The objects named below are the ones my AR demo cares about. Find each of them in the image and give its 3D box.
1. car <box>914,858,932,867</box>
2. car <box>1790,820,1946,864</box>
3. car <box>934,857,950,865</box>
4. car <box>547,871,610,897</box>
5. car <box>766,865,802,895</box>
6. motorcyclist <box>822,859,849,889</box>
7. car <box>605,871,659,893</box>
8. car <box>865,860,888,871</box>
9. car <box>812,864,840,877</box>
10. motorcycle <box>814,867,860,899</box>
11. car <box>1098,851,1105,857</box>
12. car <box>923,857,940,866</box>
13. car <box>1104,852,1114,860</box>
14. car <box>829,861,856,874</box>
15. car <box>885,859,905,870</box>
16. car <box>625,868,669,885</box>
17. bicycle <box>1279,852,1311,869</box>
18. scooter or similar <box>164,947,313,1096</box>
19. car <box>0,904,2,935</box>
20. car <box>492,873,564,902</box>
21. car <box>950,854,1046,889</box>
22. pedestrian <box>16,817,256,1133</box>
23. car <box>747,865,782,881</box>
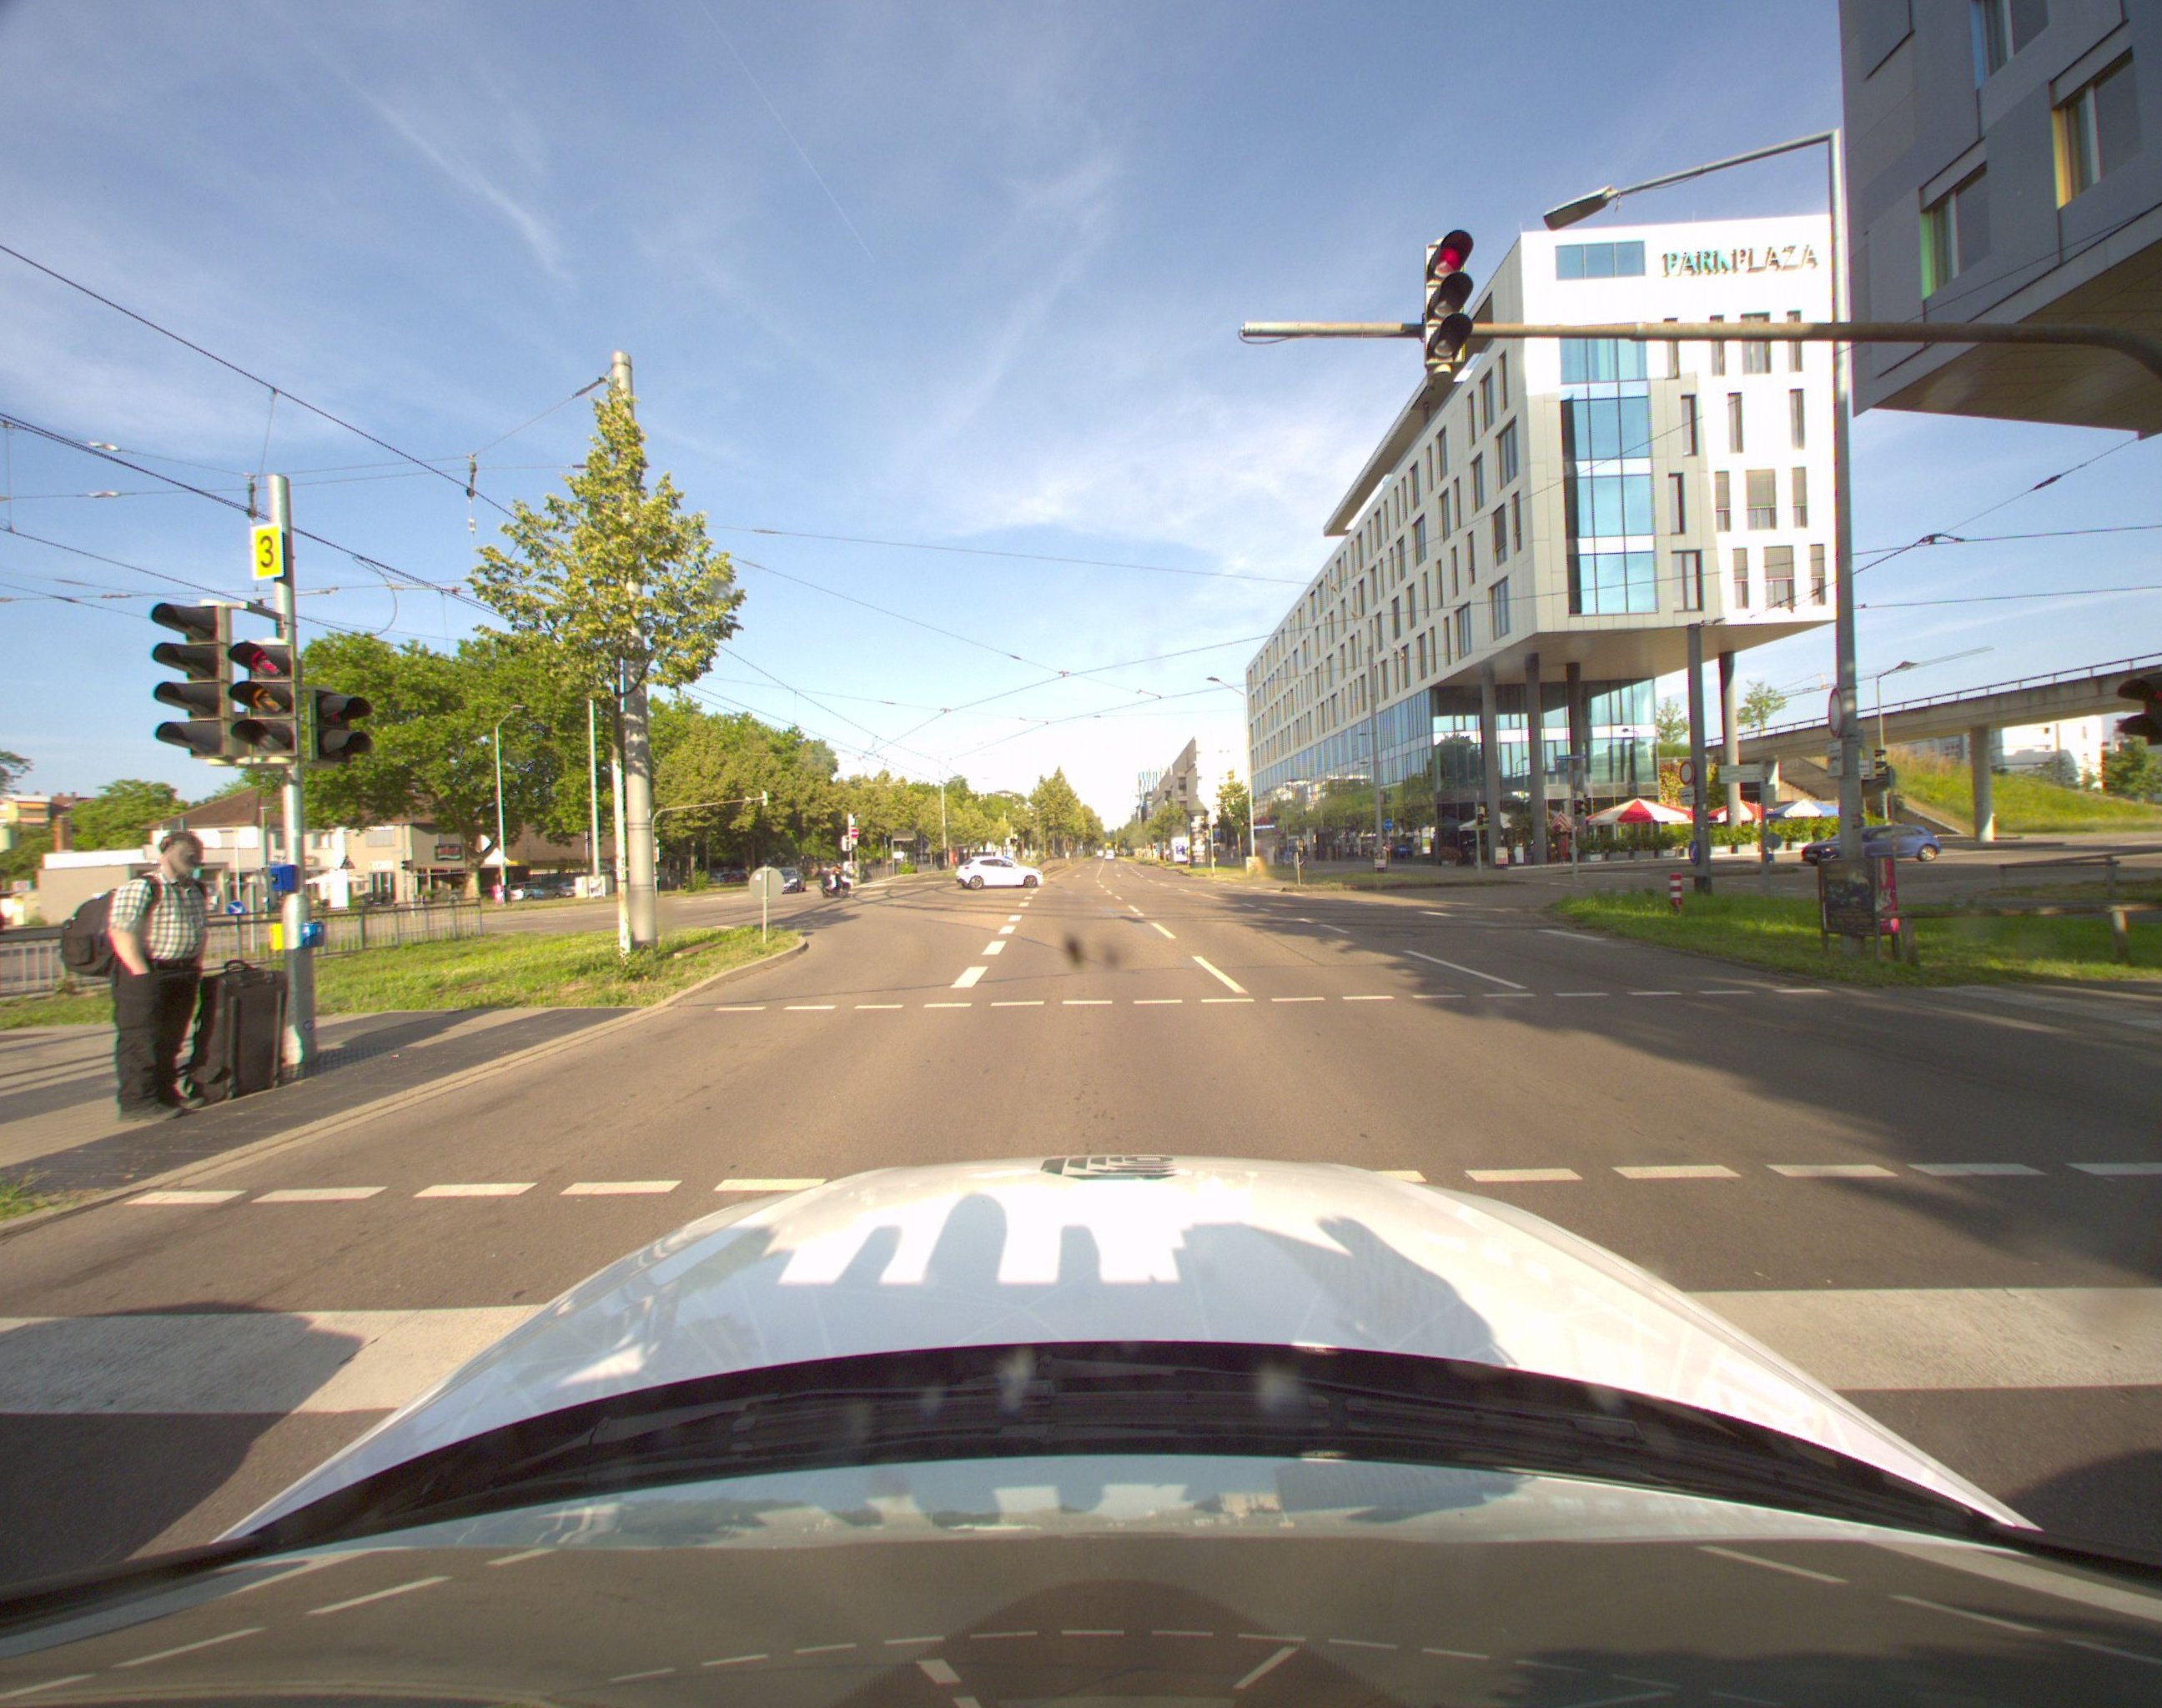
[{"bbox_3d":[-28.237,1.480,145.912,1.871,1.559,4.008,-3,0,7],"label":"car"},{"bbox_3d":[30.232,-0.465,31.367,4.170,1.424,1.859,-3,0,1],"label":"car"},{"bbox_3d":[-26.782,1.347,156.807,1.871,1.559,4.008,-3,0,7],"label":"car"},{"bbox_3d":[-37.710,2.249,61.193,1.871,1.750,4.008,-3,0,7],"label":"car"},{"bbox_3d":[-16.587,1.423,45.442,1.735,1.461,4.542,-3,0,-21],"label":"car"},{"bbox_3d":[-10.145,0.799,33.671,0.789,1.202,0.837,-1,0,-42],"label":"motorcyclist"},{"bbox_3d":[-37.020,2.280,67.236,1.871,1.559,4.008,-3,0,7],"label":"car"},{"bbox_3d":[-30.661,1.743,122.105,1.871,1.559,4.008,-3,0,7],"label":"car"},{"bbox_3d":[-32.765,2.096,104.580,1.871,1.559,4.008,-3,0,7],"label":"car"},{"bbox_3d":[-10.115,1.168,33.649,0.825,1.263,2.518,-1,0,-42],"label":"motorcycle"},{"bbox_3d":[6.127,-0.050,239.606,2.007,1.684,4.003,0,1,2],"label":"car"},{"bbox_3d":[-27.534,1.415,150.396,1.871,1.559,4.008,-3,0,7],"label":"car"},{"bbox_3d":[5.685,0.421,164.154,1.857,1.684,4.003,0,1,2],"label":"car"},{"bbox_3d":[-32.095,1.787,109.649,1.871,1.559,4.008,-3,0,7],"label":"car"},{"bbox_3d":[-29.696,1.657,130.010,1.871,1.559,4.008,-3,0,7],"label":"car"},{"bbox_3d":[-43.779,2.226,82.153,1.871,1.559,4.008,-3,0,7],"label":"car"},{"bbox_3d":[13.869,0.400,52.794,0.778,1.032,1.856,-2,2,-42],"label":"bicycle"},{"bbox_3d":[-5.667,1.111,5.494,0.546,0.907,0.430,-1,0,2],"label":"scooter or similar"},{"bbox_3d":[-63.530,3.799,45.634,3.964,1.728,2.005,-2,0,8],"label":"car"},{"bbox_3d":[-38.228,2.299,56.443,1.871,1.750,4.008,-3,0,7],"label":"car"},{"bbox_3d":[-3.887,0.795,37.989,4.094,1.504,1.986,-1,0,-21],"label":"car"},{"bbox_3d":[-5.701,0.687,4.952,0.697,1.792,0.636,-1,0,2],"label":"pedestrian"},{"bbox_3d":[-34.743,2.046,89.591,1.871,1.559,4.008,-3,0,7],"label":"car"}]
